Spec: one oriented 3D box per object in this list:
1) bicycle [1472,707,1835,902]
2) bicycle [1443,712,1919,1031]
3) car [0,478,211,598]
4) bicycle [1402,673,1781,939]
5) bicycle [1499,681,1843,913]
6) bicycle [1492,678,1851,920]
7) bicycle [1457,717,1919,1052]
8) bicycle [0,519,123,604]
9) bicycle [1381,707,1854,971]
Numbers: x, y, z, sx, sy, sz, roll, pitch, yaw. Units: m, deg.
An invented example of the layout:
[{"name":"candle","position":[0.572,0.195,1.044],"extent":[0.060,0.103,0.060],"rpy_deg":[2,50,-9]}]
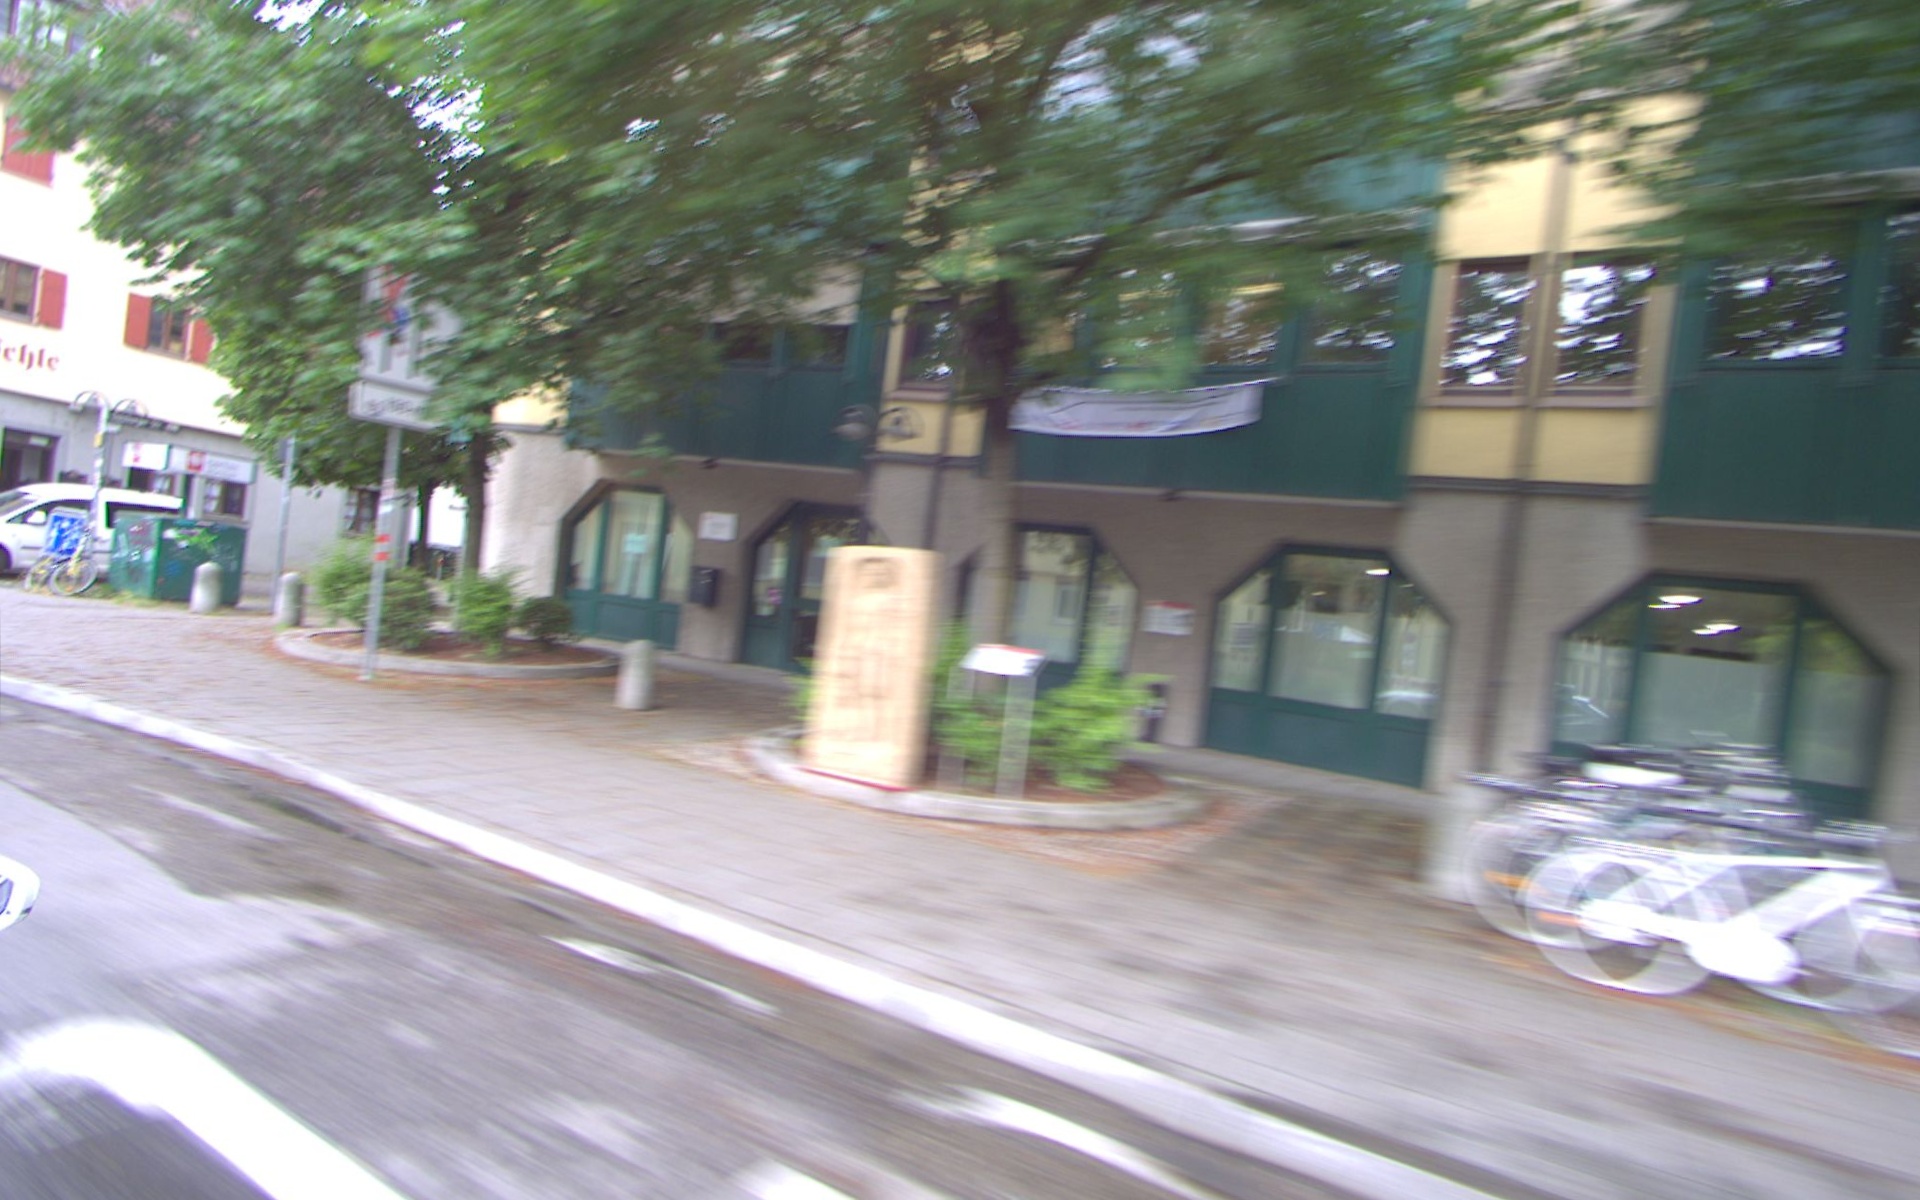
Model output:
[{"name":"bicycle","position":[5.427,1.568,8.075],"extent":[2.252,1.083,0.545],"rpy_deg":[6,1,28]},{"name":"bicycle","position":[3.617,1.290,5.162],"extent":[1.926,1.155,0.333],"rpy_deg":[6,-1,32]},{"name":"car","position":[-16.929,-1.201,18.773],"extent":[1.815,1.819,4.253],"rpy_deg":[9,0,25]},{"name":"bicycle","position":[3.998,1.255,6.528],"extent":[1.926,1.316,0.333],"rpy_deg":[6,-1,32]},{"name":"bicycle","position":[5.138,1.383,7.414],"extent":[1.926,1.316,0.333],"rpy_deg":[6,-1,32]},{"name":"bicycle","position":[4.935,1.338,7.127],"extent":[1.926,1.316,0.333],"rpy_deg":[6,-1,32]},{"name":"bicycle","position":[3.526,1.281,4.819],"extent":[1.926,1.154,0.333],"rpy_deg":[6,-1,32]},{"name":"bicycle","position":[-13.851,-0.589,15.509],"extent":[1.607,1.120,0.501],"rpy_deg":[6,1,12]},{"name":"bicycle","position":[3.878,1.365,6.176],"extent":[2.252,1.083,0.545],"rpy_deg":[6,1,28]}]
